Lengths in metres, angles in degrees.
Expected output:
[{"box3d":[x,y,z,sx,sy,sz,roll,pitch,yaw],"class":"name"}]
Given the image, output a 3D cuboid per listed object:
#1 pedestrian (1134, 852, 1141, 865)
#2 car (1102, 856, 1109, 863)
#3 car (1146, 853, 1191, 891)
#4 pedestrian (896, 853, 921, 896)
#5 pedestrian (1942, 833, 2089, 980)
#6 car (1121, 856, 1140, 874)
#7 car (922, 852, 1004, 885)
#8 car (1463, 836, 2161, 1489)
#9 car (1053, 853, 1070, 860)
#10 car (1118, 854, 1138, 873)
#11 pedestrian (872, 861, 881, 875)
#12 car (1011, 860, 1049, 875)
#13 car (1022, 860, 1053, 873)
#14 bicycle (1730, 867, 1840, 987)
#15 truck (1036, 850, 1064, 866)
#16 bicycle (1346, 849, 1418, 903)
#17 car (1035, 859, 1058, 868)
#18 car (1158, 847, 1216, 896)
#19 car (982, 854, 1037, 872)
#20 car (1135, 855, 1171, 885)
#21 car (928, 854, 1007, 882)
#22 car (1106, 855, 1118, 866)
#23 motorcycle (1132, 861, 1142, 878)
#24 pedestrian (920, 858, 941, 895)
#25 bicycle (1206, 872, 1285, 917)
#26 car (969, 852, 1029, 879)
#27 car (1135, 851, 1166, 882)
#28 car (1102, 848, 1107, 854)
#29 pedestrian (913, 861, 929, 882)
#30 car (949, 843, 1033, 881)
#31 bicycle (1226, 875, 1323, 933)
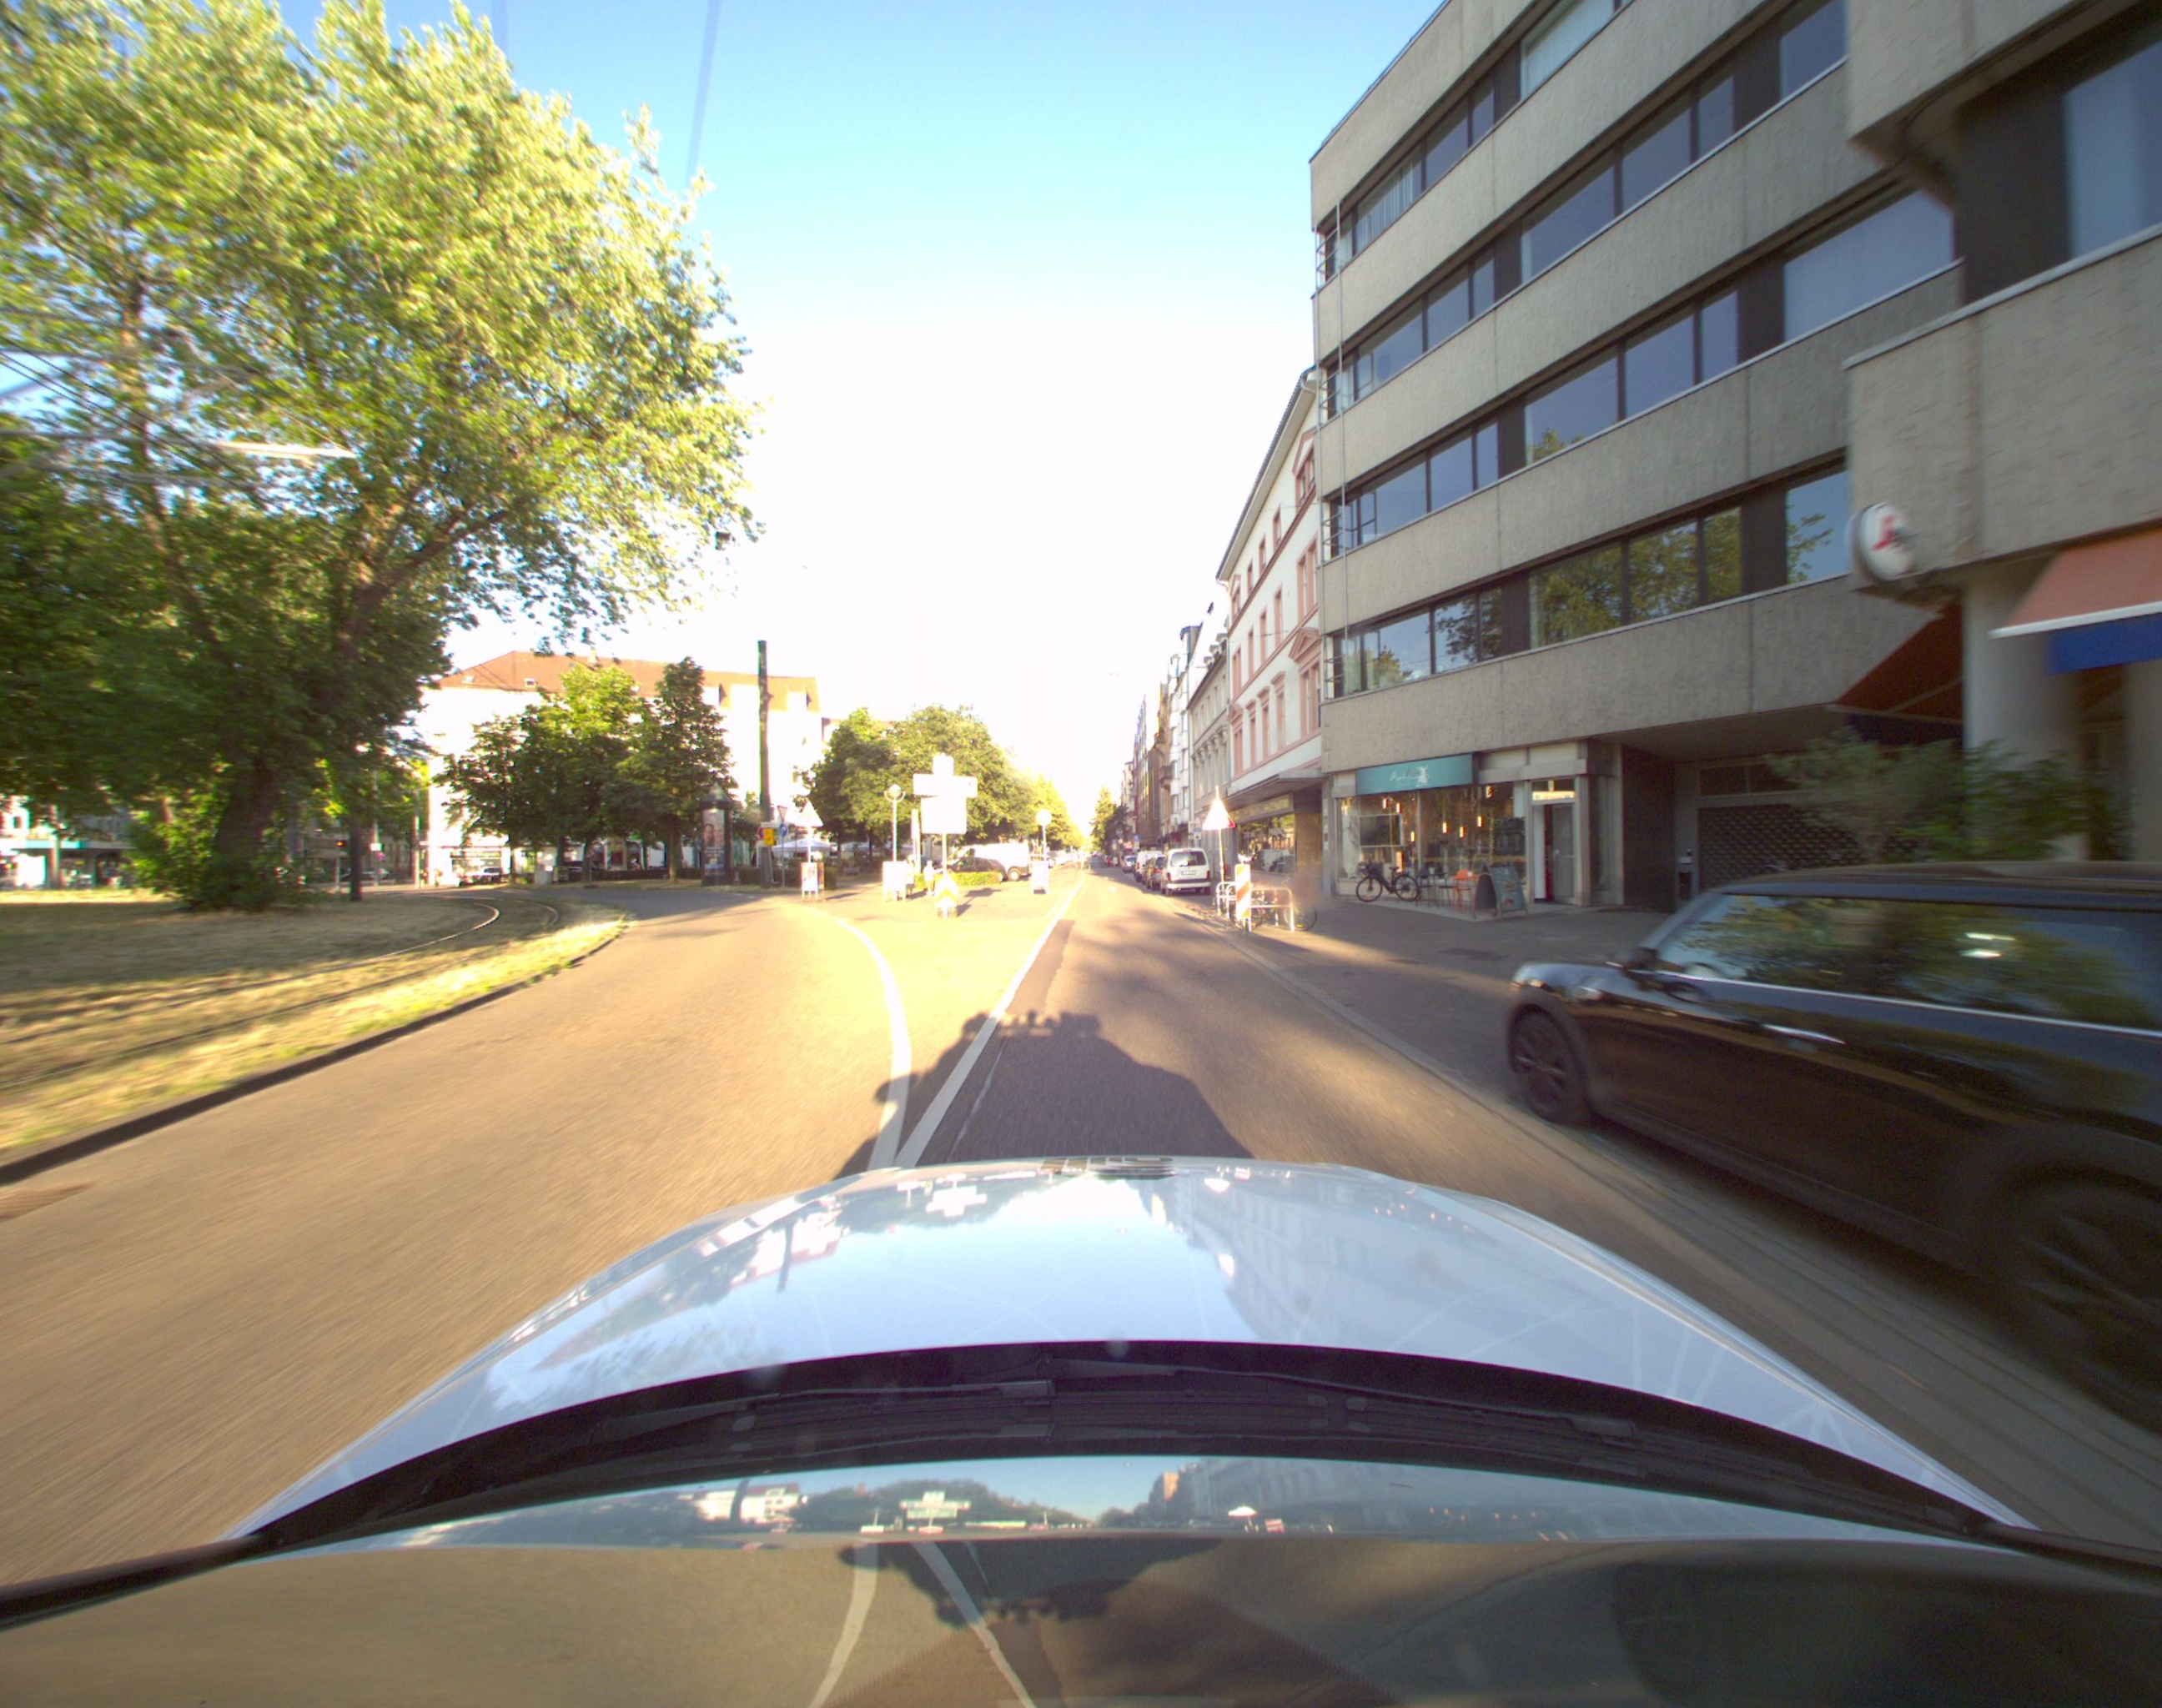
[{"box3d":[7.281,0.604,105.515,0.763,1.689,0.785,-2,0,-2],"class":"pedestrian"},{"box3d":[4.632,1.059,155.509,1.203,1.300,2.659,0,-1,-2],"class":"car"},{"box3d":[3.962,0.793,37.474,1.651,1.665,4.108,0,0,0],"class":"car"},{"box3d":[-6.410,0.739,30.259,0.703,1.559,0.687,0,0,-36],"class":"pedestrian"},{"box3d":[8.558,0.465,7.480,0.702,1.278,0.537,-2,0,0],"class":"pedestrian"},{"box3d":[4.639,1.024,76.193,1.673,1.561,4.004,-3,0,3],"class":"car"},{"box3d":[-6.138,0.722,42.637,3.903,1.582,1.782,-1,0,-39],"class":"car"},{"box3d":[3.447,0.707,3.623,1.783,1.507,3.922,0,0,2],"class":"car"},{"box3d":[-4.211,0.603,178.820,3.727,1.493,2.000,0,0,0],"class":"car"},{"box3d":[4.679,0.938,81.230,1.690,1.769,4.000,-1,0,0],"class":"car"},{"box3d":[-17.153,1.174,68.363,0.576,1.172,0.536,-1,0,8],"class":"pedestrian"},{"box3d":[-6.215,1.605,99.483,4.434,1.835,2.033,0,0,0],"class":"car"},{"box3d":[-5.642,1.655,106.707,3.977,1.708,1.833,0,0,0],"class":"car"},{"box3d":[7.195,0.695,8.293,1.901,1.005,0.453,-3,0,-38],"class":"bicycle"},{"box3d":[-5.584,0.715,145.856,4.925,2.615,2.000,-1,-1,0],"class":"truck"},{"box3d":[7.693,0.576,20.852,0.417,1.277,1.644,-1,-4,-42],"class":"bicycle"},{"box3d":[-5.657,1.559,134.348,3.727,1.596,2.000,0,0,0],"class":"car"},{"box3d":[4.084,0.653,31.947,1.786,1.792,4.092,-1,0,1],"class":"car"},{"box3d":[-5.830,0.714,66.527,4.010,1.486,1.982,0,0,-29],"class":"car"},{"box3d":[3.806,0.821,43.735,1.661,1.544,3.883,0,0,1],"class":"car"},{"box3d":[-6.353,0.753,45.773,4.020,1.486,1.812,0,0,-39],"class":"car"},{"box3d":[4.671,1.050,123.128,1.572,1.543,3.394,-3,-1,-2],"class":"car"},{"box3d":[4.079,1.118,59.411,0.586,1.200,2.210,0,0,1],"class":"motorcycle"},{"box3d":[-5.664,0.828,30.609,0.567,1.364,0.607,0,0,-36],"class":"pedestrian"},{"box3d":[4.043,1.008,20.029,1.772,0.990,0.545,-3,1,23],"class":"bicycle"},{"box3d":[-5.971,0.822,59.379,4.017,1.878,1.851,0,0,-35],"class":"car"},{"box3d":[4.228,0.711,49.979,1.703,1.835,4.308,0,0,2],"class":"car"},{"box3d":[6.434,-0.736,225.552,1.305,1.600,2.659,0,-1,-2],"class":"car"},{"box3d":[-9.758,1.061,49.692,0.752,1.277,0.654,0,0,-36],"class":"pedestrian"},{"box3d":[-5.456,0.481,49.430,4.622,2.251,2.184,0,-1,-26],"class":"car"},{"box3d":[3.800,0.985,16.039,1.776,0.990,0.544,-4,1,12],"class":"bicycle"}]
